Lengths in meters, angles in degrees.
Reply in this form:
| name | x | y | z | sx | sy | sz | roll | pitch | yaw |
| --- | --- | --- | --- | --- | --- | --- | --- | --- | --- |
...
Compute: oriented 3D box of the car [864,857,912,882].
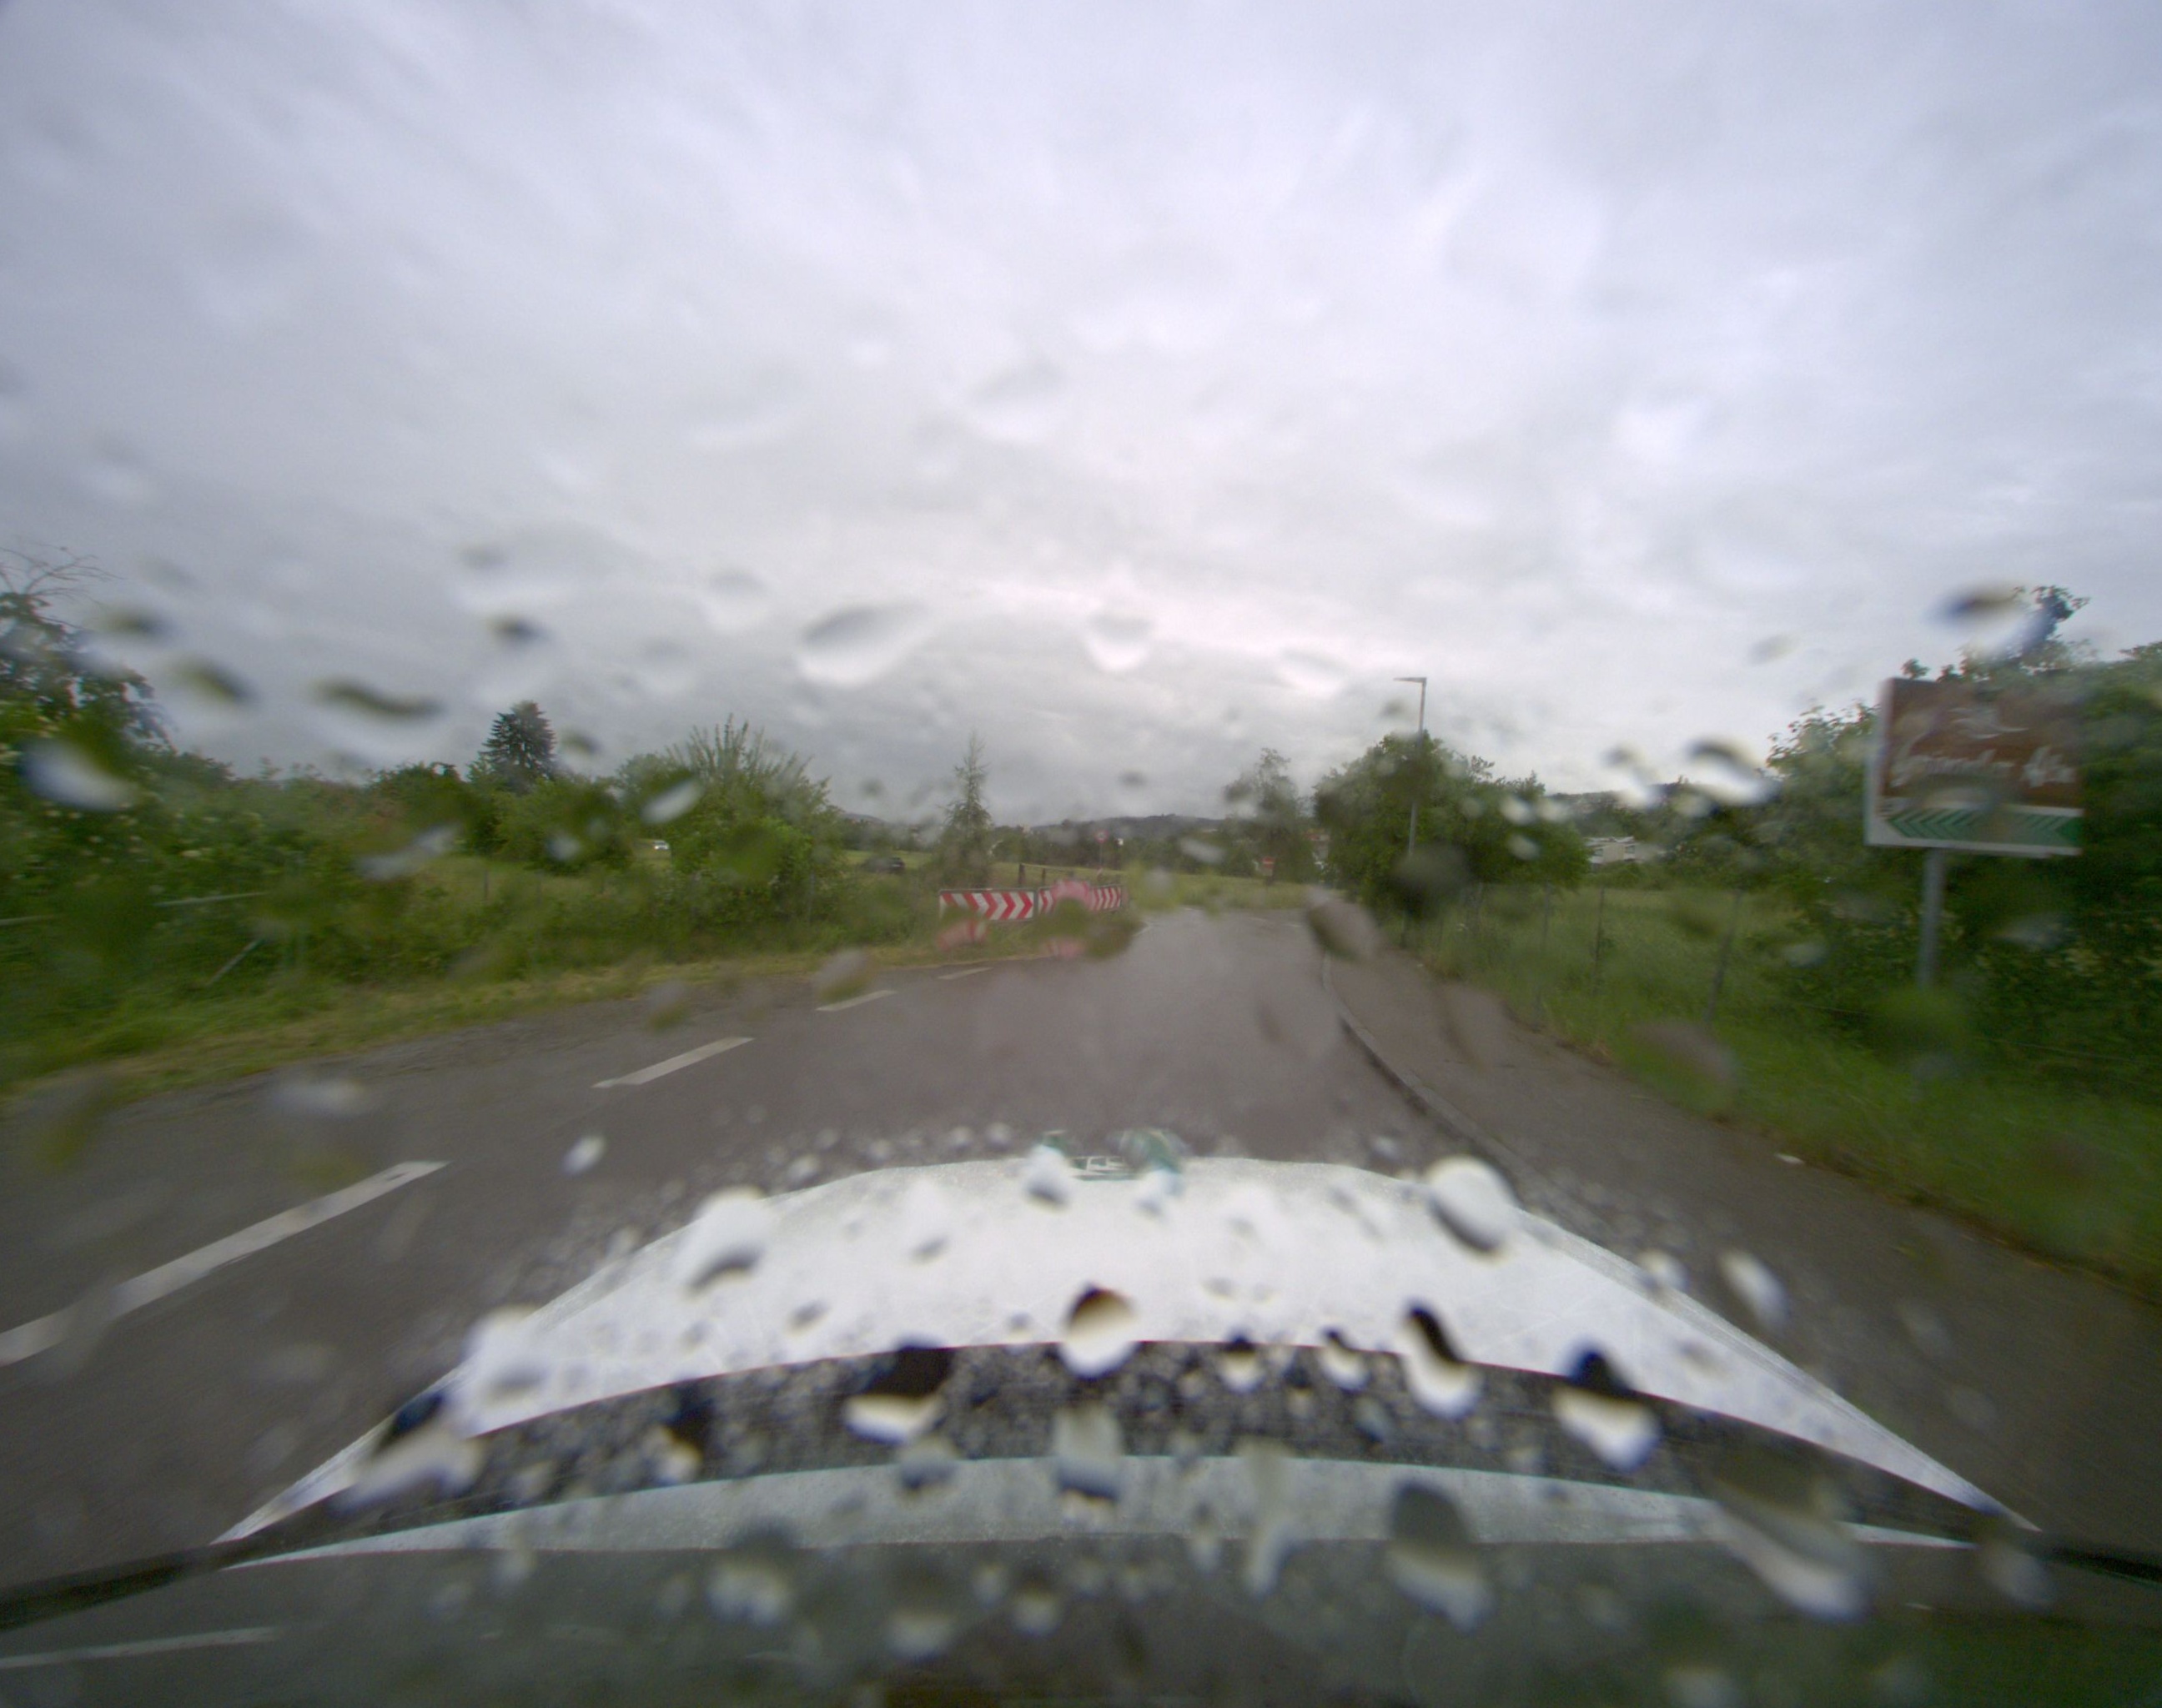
| name | x | y | z | sx | sy | sz | roll | pitch | yaw |
| --- | --- | --- | --- | --- | --- | --- | --- | --- | --- |
| car | -13.153 | 1.029 | 55.413 | 1.828 | 1.594 | 3.957 | 2 | -1 | -35 |
